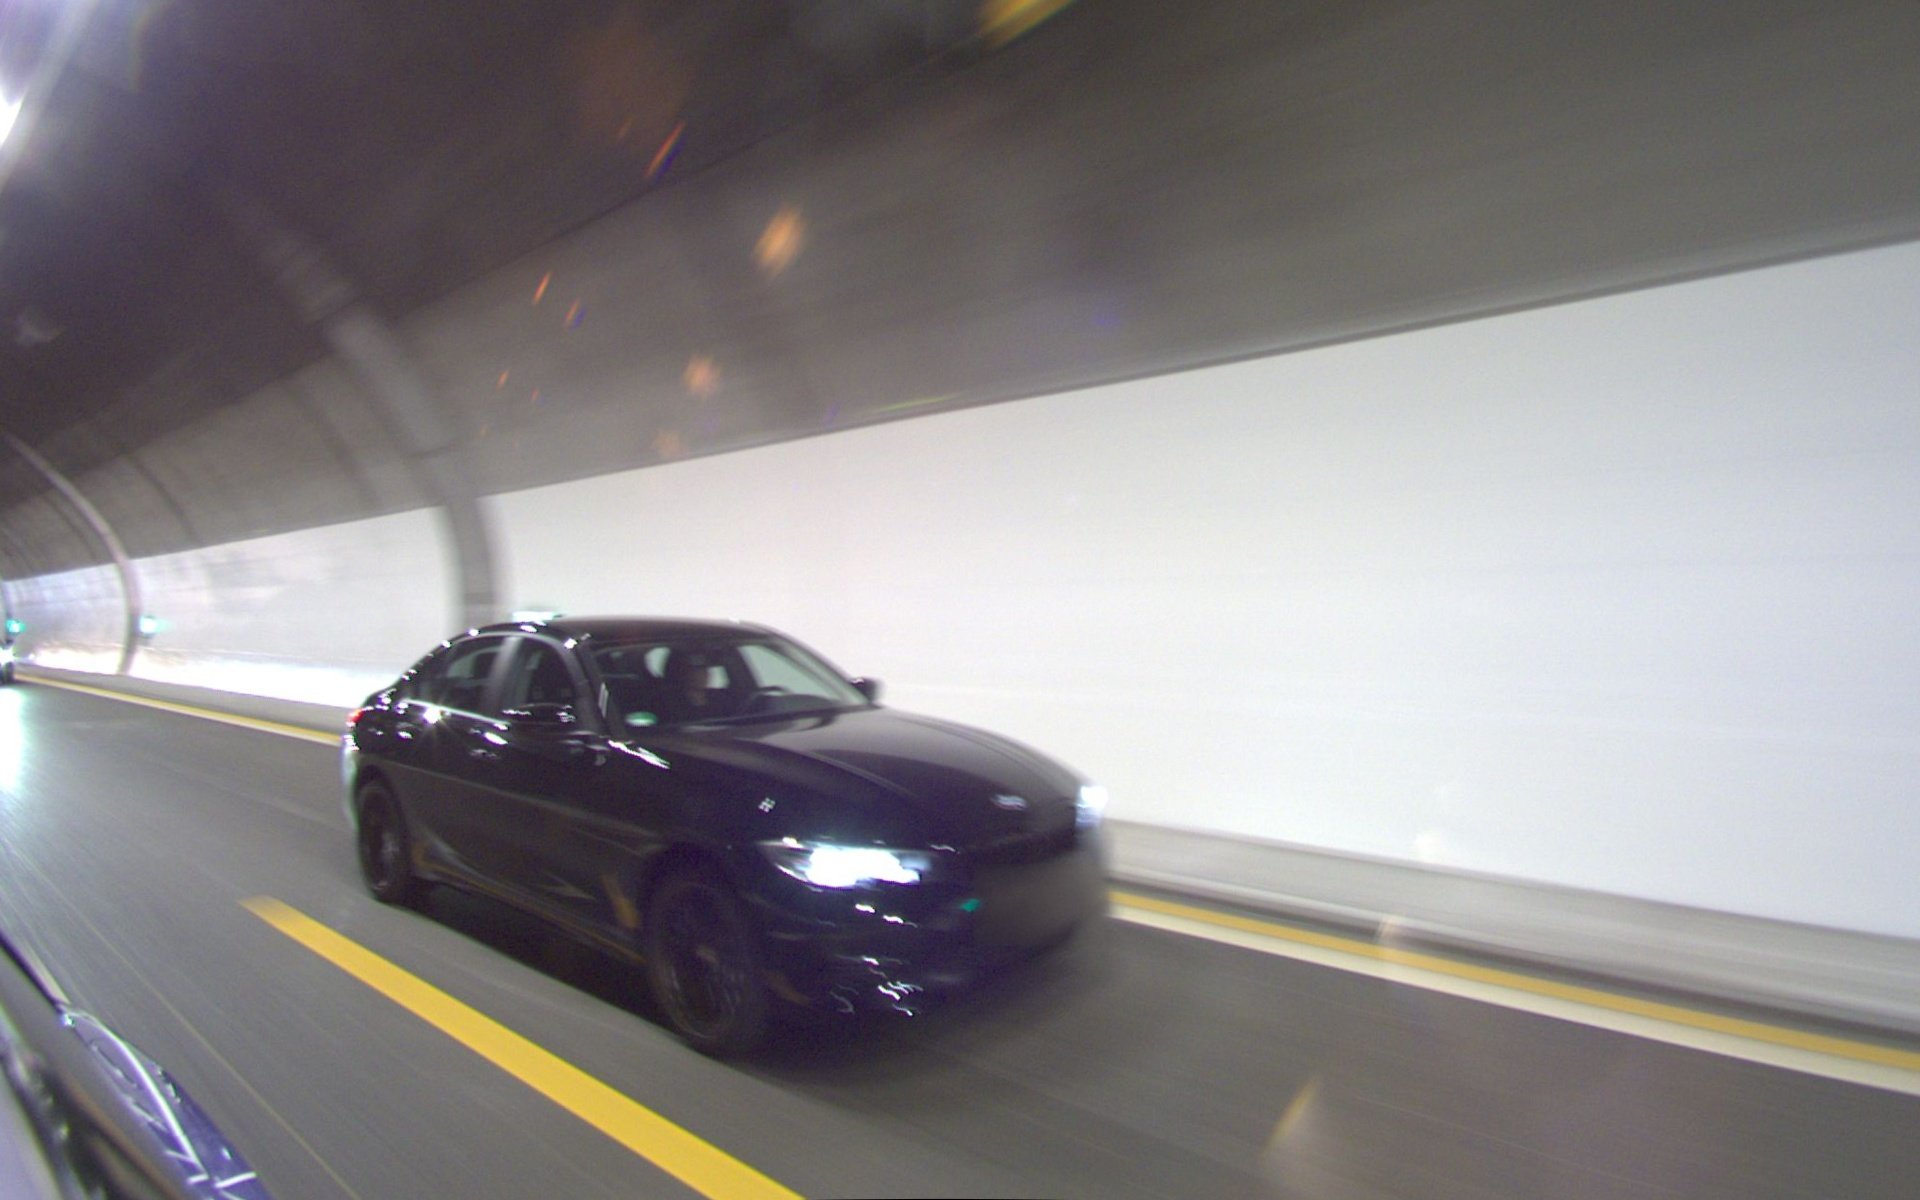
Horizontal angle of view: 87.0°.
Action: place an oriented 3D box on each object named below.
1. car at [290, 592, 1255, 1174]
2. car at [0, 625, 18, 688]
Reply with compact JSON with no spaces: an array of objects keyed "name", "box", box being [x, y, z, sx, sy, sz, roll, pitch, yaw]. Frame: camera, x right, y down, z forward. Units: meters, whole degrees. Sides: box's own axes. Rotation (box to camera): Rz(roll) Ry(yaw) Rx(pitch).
[{"name":"car","box":[-1.305,0.752,4.780,4.878,1.449,1.760,-2,-1,40]},{"name":"car","box":[-24.482,1.369,24.500,4.877,1.449,1.761,-2,-1,39]}]
